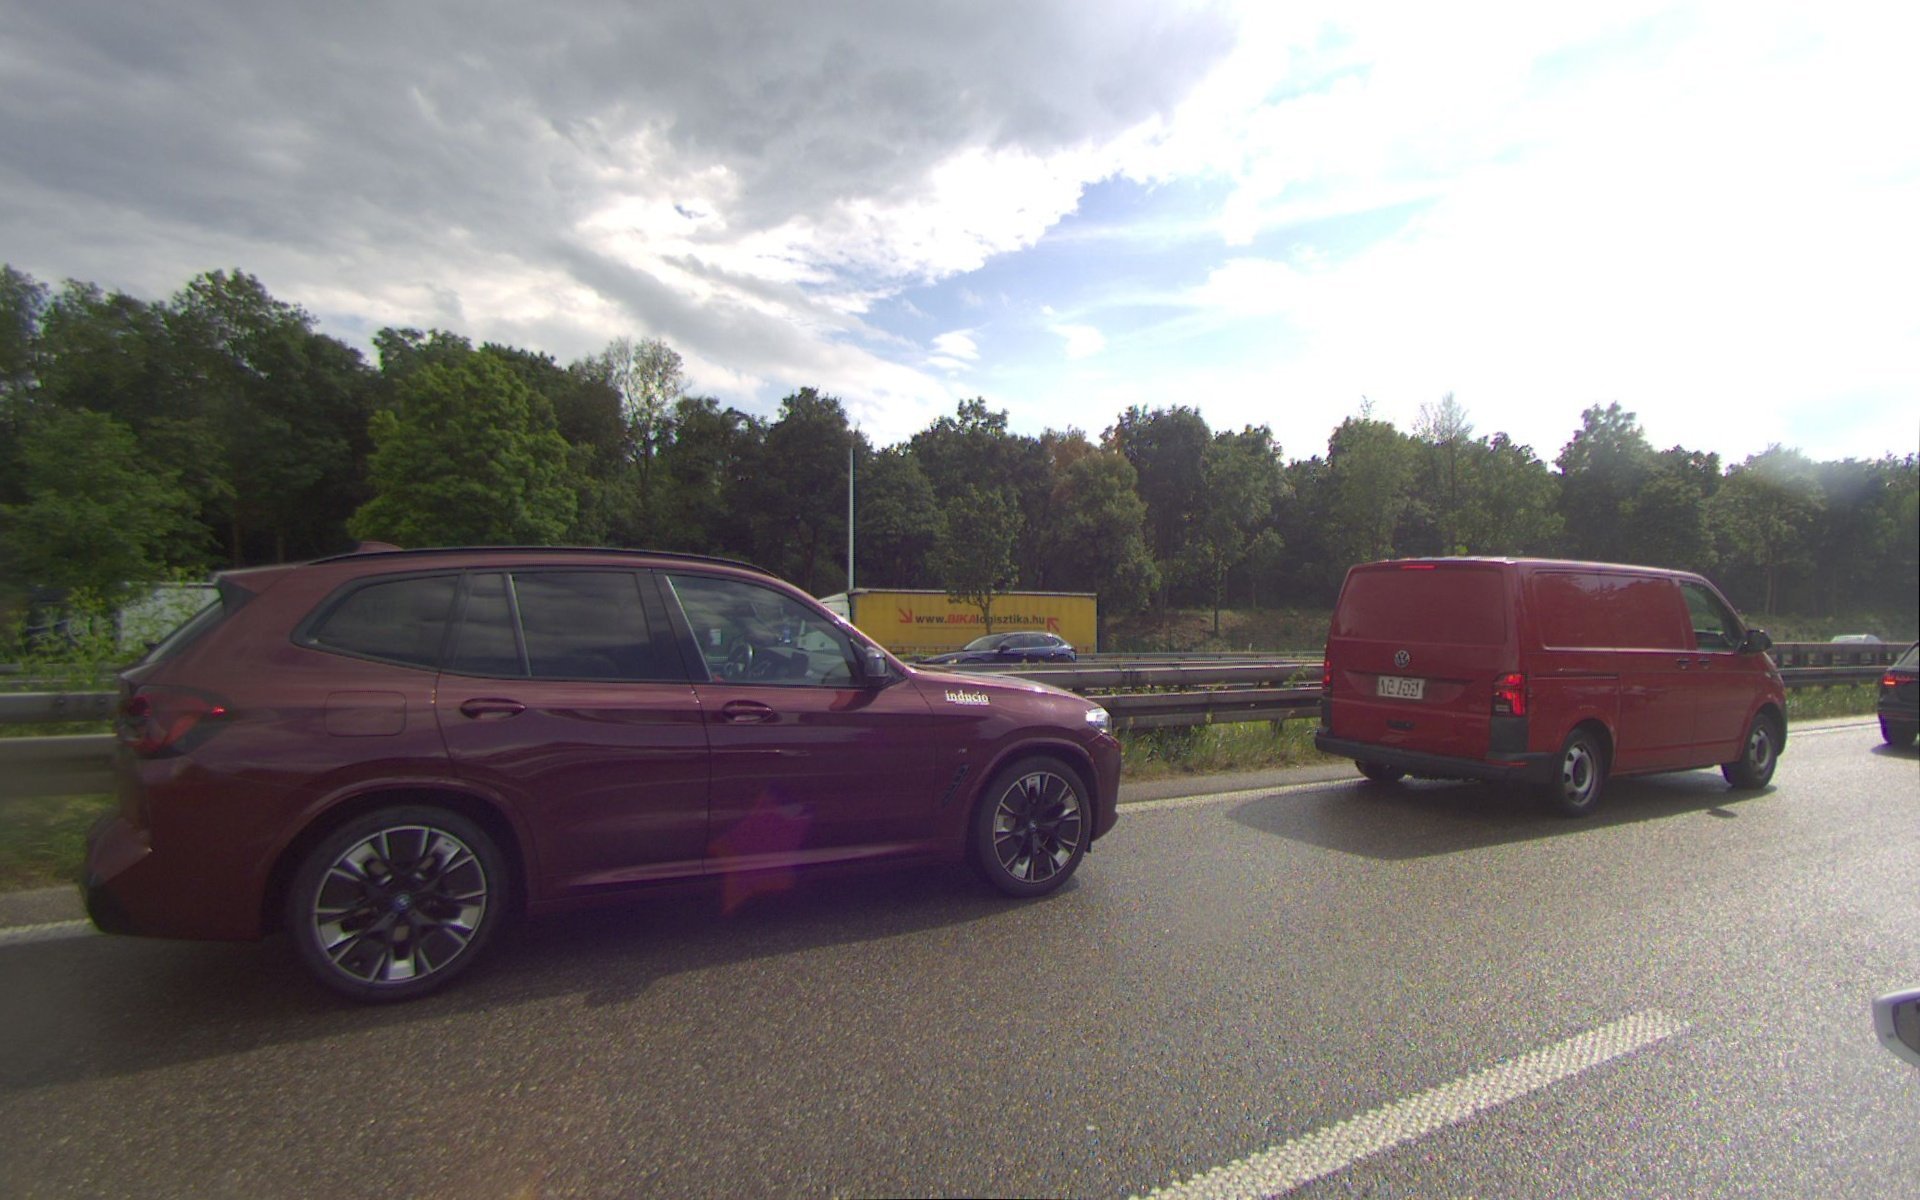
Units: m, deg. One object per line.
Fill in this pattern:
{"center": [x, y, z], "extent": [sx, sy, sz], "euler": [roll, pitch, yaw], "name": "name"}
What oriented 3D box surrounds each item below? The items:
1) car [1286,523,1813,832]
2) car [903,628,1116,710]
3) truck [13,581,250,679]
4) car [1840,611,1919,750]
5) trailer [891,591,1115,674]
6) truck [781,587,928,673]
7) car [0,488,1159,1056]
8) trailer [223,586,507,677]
{"center": [5.284, 0.588, 8.835], "extent": [4.701, 2.082, 1.969], "euler": [2, -1, -31], "name": "car"}
{"center": [1.305, 1.693, 25.441], "extent": [5.151, 1.799, 2.040], "euler": [2, 0, -32], "name": "car"}
{"center": [-33.431, 1.208, 40.972], "extent": [6.616, 3.709, 3.775], "euler": [2, 0, -26], "name": "truck"}
{"center": [13.251, 1.008, 12.588], "extent": [4.701, 1.585, 1.984], "euler": [2, 0, -31], "name": "car"}
{"center": [2.341, 1.789, 54.864], "extent": [11.540, 4.171, 3.785], "euler": [2, 0, -18], "name": "trailer"}
{"center": [-5.555, 1.531, 52.321], "extent": [6.934, 4.171, 3.785], "euler": [2, 0, -18], "name": "truck"}
{"center": [-1.357, 0.581, 4.973], "extent": [4.566, 1.658, 1.898], "euler": [2, -2, -32], "name": "car"}
{"center": [-25.833, 1.410, 44.542], "extent": [10.351, 3.697, 3.779], "euler": [1, -1, -24], "name": "trailer"}
